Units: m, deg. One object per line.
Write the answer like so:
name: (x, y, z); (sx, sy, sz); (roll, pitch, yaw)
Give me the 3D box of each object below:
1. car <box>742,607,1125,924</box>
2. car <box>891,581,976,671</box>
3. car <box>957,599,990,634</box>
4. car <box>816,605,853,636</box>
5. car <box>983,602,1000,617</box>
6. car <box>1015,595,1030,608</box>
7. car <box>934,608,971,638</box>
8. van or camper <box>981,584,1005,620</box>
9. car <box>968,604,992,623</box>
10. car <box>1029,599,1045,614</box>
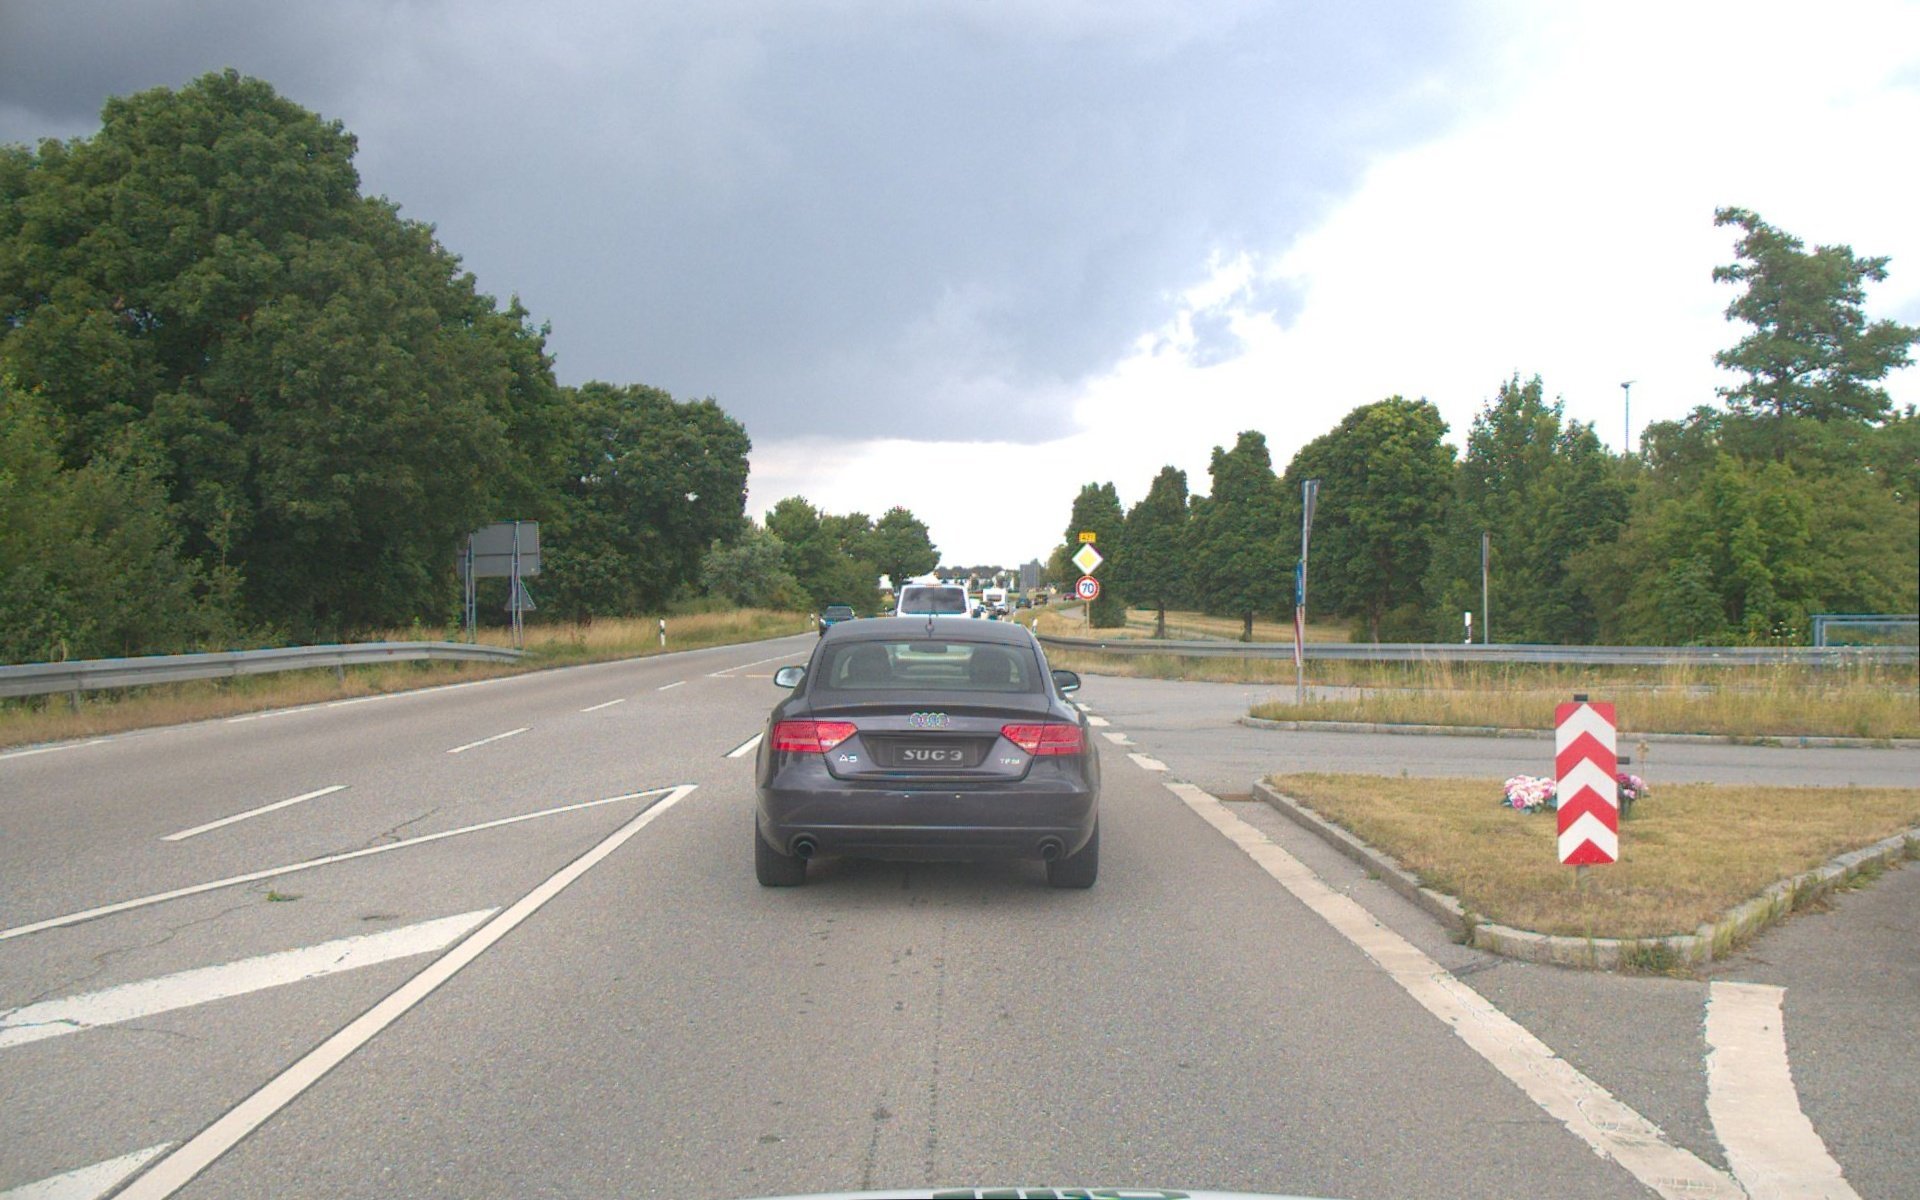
car: (-0.149, 0.773, 9.627); (1.746, 1.400, 3.999); (1, 0, -1)
car: (-0.606, 0.545, 37.521); (1.801, 1.915, 3.999); (1, 0, -1)
car: (0.889, 1.018, 103.018); (1.952, 2.125, 4.001); (0, 0, 2)
car: (-6.431, 1.050, 85.061); (1.676, 1.549, 3.999); (0, 0, -1)
car: (2.825, 0.850, 147.642); (1.231, 1.377, 3.468); (0, 0, 5)
car: (7.698, 0.185, 204.872); (1.683, 1.477, 4.000); (1, 0, 0)
car: (-0.394, 1.196, 87.016); (1.758, 1.490, 3.249); (0, 0, 3)
van or camper: (3.340, 0.245, 165.974); (2.292, 3.542, 5.719); (0, 0, 1)
car: (1.644, 1.071, 133.756); (1.699, 1.541, 3.749); (0, 0, 5)
car: (10.768, 0.905, 231.444); (1.953, 2.049, 3.999); (0, 0, -1)
